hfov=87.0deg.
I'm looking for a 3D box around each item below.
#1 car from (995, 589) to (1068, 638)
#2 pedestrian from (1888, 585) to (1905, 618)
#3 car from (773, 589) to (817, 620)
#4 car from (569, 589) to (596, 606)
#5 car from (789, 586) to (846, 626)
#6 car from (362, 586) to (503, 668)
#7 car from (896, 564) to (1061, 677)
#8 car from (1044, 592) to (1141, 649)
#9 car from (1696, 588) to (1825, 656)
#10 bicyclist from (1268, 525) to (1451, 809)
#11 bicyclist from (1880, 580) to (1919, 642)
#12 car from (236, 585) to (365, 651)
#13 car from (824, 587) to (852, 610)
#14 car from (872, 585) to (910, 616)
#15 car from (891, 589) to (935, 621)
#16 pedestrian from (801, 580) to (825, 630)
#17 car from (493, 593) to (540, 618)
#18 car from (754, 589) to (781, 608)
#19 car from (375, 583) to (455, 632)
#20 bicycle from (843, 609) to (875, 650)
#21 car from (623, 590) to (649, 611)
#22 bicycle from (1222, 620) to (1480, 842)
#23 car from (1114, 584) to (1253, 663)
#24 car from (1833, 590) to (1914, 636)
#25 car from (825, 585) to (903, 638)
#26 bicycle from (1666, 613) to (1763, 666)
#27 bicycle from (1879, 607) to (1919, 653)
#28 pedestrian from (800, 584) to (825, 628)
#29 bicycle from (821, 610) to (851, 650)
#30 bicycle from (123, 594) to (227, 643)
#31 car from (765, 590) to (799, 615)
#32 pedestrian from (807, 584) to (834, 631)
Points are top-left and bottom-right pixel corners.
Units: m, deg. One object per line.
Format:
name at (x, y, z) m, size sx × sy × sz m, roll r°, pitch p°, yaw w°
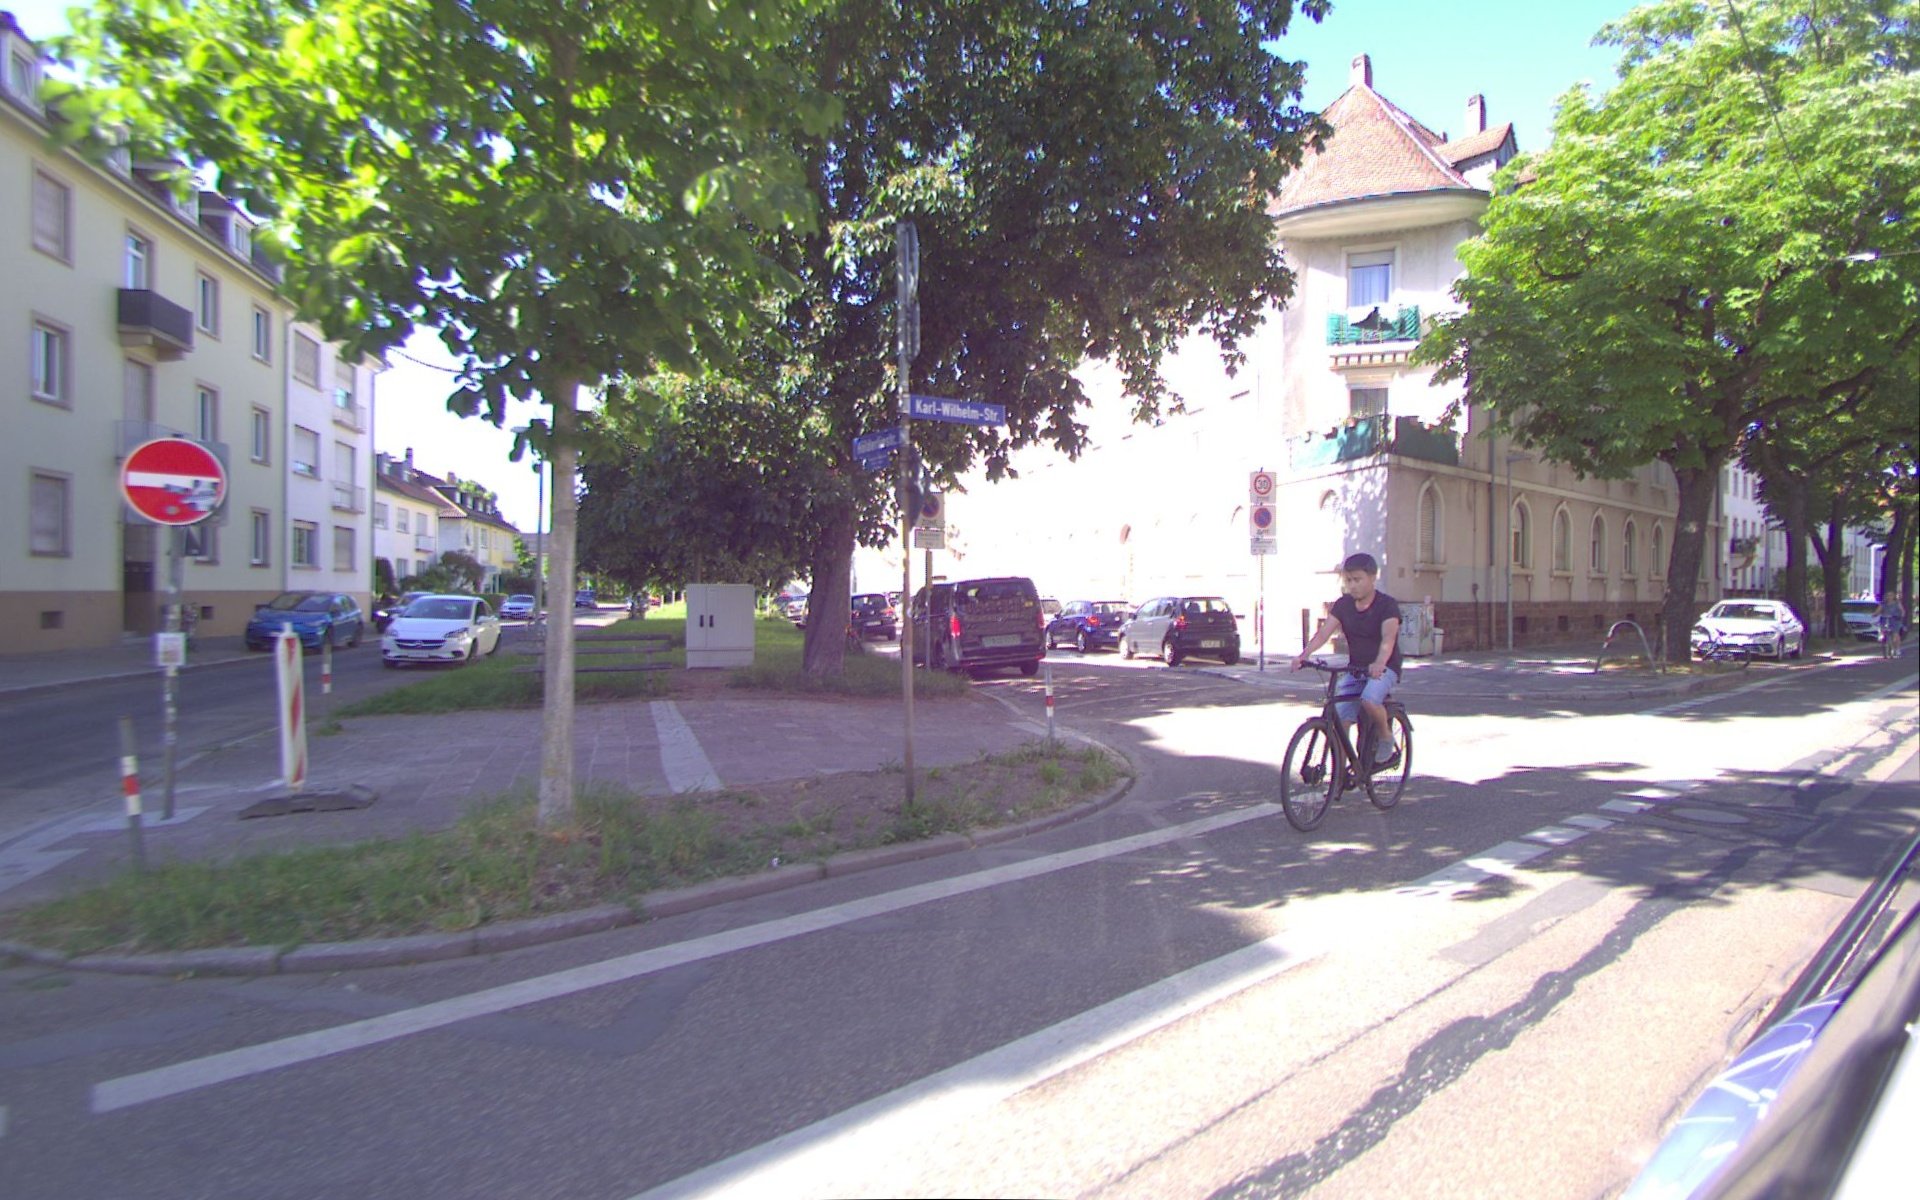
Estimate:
car at (2.307, 0.401, 33.408) m, size 1.408 × 1.519 × 3.509 m, roll -1°, pitch 1°, yaw -13°
pedestrian at (58.604, 0.086, 63.341) m, size 0.740 × 2.039 × 0.678 m, roll 0°, pitch 0°, yaw 41°
car at (-9.511, 0.211, 58.013) m, size 1.958 × 1.650 × 5.077 m, roll -2°, pitch 1°, yaw -14°
car at (-33.907, -0.203, 90.973) m, size 1.749 × 1.415 × 3.878 m, roll 3°, pitch 0°, yaw -15°
car at (-6.535, 0.229, 46.020) m, size 1.958 × 1.650 × 5.077 m, roll -2°, pitch 1°, yaw -14°
car at (-11.037, 0.506, 21.474) m, size 1.749 × 1.505 × 3.980 m, roll 3°, pitch 0°, yaw -15°
car at (0.193, 0.326, 20.326) m, size 1.958 × 1.914 × 5.077 m, roll -2°, pitch 1°, yaw -14°
car at (3.553, 0.517, 27.648) m, size 1.539 × 1.415 × 3.366 m, roll -1°, pitch 1°, yaw -13°
car at (19.608, 0.489, 24.737) m, size 4.140 × 1.490 × 1.704 m, roll 0°, pitch 2°, yaw -41°
bicyclist at (2.737, 0.415, 6.921) m, size 1.028 × 1.761 × 0.762 m, roll 0°, pitch -1°, yaw -41°
bicyclist at (23.972, 0.277, 25.718) m, size 1.209 × 1.533 × 0.775 m, roll 0°, pitch 0°, yaw -44°
car at (-17.382, 0.417, 26.894) m, size 1.805 × 1.566 × 3.879 m, roll 3°, pitch 0°, yaw -17°
car at (-10.054, -0.168, 83.059) m, size 1.746 × 1.740 × 4.051 m, roll -3°, pitch 1°, yaw -13°
car at (-4.074, 0.008, 59.325) m, size 1.606 × 1.694 × 3.865 m, roll -1°, pitch 1°, yaw -13°
car at (-2.482, 0.227, 52.277) m, size 1.606 × 1.519 × 3.644 m, roll -1°, pitch 1°, yaw -13°
pedestrian at (-5.590, 0.191, 38.457) m, size 0.826 × 1.865 × 0.575 m, roll -1°, pitch 0°, yaw -16°
car at (-24.667, 0.265, 56.424) m, size 1.770 × 1.236 × 3.878 m, roll 3°, pitch 0°, yaw -15°
car at (-17.405, -0.167, 91.406) m, size 1.958 × 1.650 × 5.077 m, roll -2°, pitch 1°, yaw -14°
car at (-20.564, 0.243, 38.355) m, size 1.749 × 1.674 × 3.878 m, roll 3°, pitch 0°, yaw -15°
bicycle at (-2.129, 0.605, 21.218) m, size 0.410 × 0.787 × 1.386 m, roll 0°, pitch 1°, yaw -16°
car at (-25.915, 0.013, 81.039) m, size 1.749 × 1.505 × 3.980 m, roll 3°, pitch 0°, yaw -15°
bicycle at (2.712, 0.785, 6.890) m, size 2.059 × 1.258 × 0.762 m, roll 0°, pitch -1°, yaw -41°
car at (4.966, 0.472, 22.909) m, size 1.687 × 1.557 × 3.447 m, roll -3°, pitch 1°, yaw -13°
car at (33.084, 0.424, 36.602) m, size 4.670 × 1.502 × 1.821 m, roll 0°, pitch 2°, yaw -44°
car at (-3.376, 0.354, 34.844) m, size 1.895 × 1.629 × 4.629 m, roll -2°, pitch 1°, yaw -14°
bicycle at (15.788, 0.811, 21.188) m, size 1.564 × 0.992 × 0.631 m, roll 2°, pitch 1°, yaw 41°
bicycle at (23.965, 0.748, 25.714) m, size 2.024 × 1.100 × 0.775 m, roll 0°, pitch 0°, yaw -44°
pedestrian at (-5.396, 0.220, 37.003) m, size 0.826 × 1.588 × 0.575 m, roll -1°, pitch 0°, yaw -17°
bicycle at (-2.595, 0.615, 21.185) m, size 0.410 × 0.768 × 1.386 m, roll 0°, pitch 1°, yaw -16°
bicycle at (-20.697, 0.440, 26.822) m, size 0.750 × 1.171 × 4.009 m, roll 0°, pitch 1°, yaw -16°
car at (-12.532, 0.124, 71.067) m, size 1.958 × 1.650 × 5.077 m, roll -2°, pitch 1°, yaw -14°
pedestrian at (-4.728, 0.240, 34.334) m, size 0.826 × 1.588 × 0.575 m, roll -1°, pitch 0°, yaw -17°
